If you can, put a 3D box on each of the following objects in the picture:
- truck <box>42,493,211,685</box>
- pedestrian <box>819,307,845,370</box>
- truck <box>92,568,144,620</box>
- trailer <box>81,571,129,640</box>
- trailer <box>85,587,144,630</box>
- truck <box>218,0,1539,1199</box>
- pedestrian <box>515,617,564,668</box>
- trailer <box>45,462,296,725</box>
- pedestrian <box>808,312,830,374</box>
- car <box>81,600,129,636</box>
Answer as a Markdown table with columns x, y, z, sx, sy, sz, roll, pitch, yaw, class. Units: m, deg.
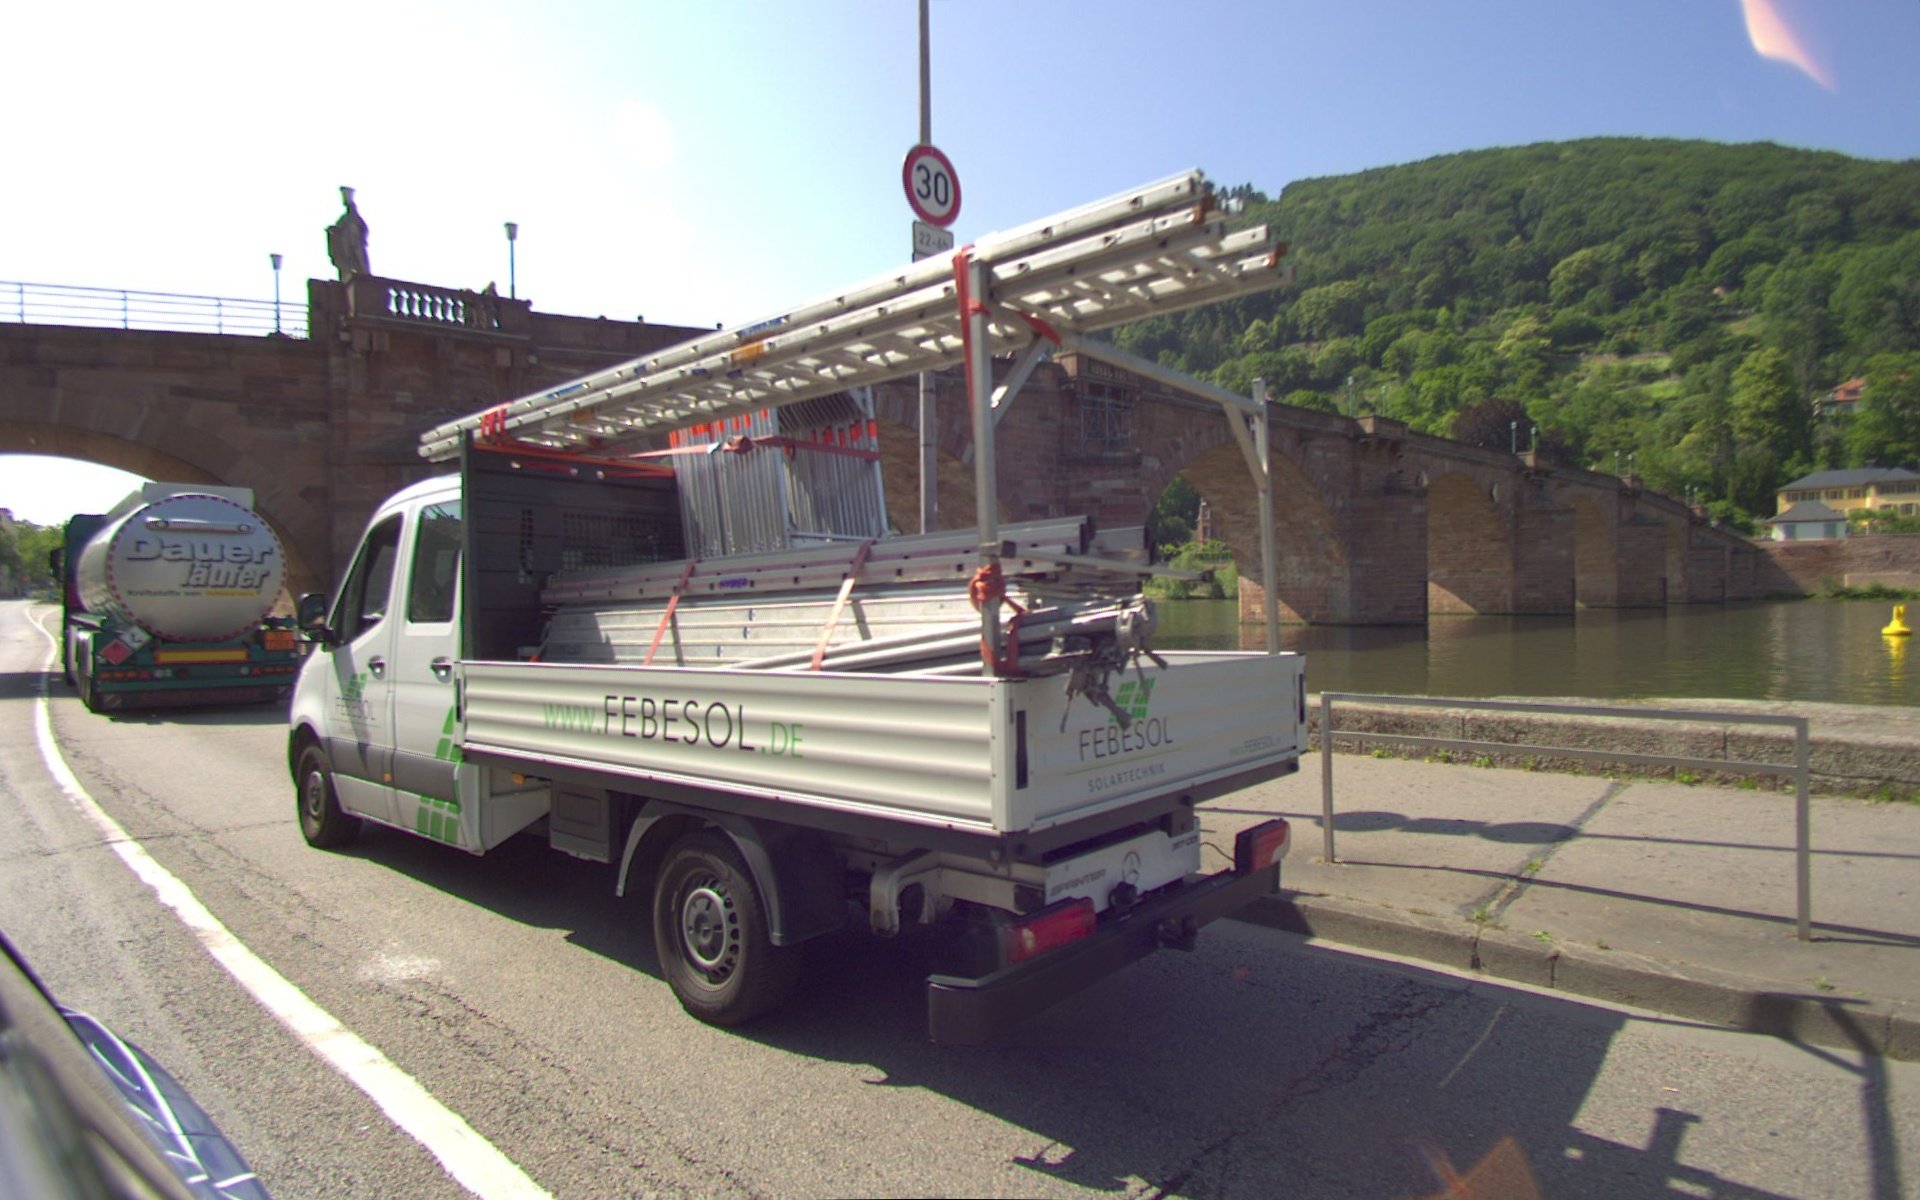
| x | y | z | sx | sy | sz | roll | pitch | yaw | class |
| --- | --- | --- | --- | --- | --- | --- | --- | --- | --- |
| -19.080 | -0.131 | 23.035 | 2.494 | 3.777 | 6.251 | 2 | -2 | -43 | truck |
| -4.616 | -9.446 | 36.608 | 0.625 | 2.029 | 0.685 | 0 | 0 | 41 | pedestrian |
| -59.353 | -0.443 | 71.446 | 2.608 | 3.483 | 7.887 | 2 | 0 | -39 | truck |
| -42.908 | 0.277 | 50.823 | 1.720 | 3.345 | 3.389 | 2 | -1 | -40 | trailer |
| -53.965 | 0.487 | 64.728 | 2.663 | 2.550 | 6.961 | 2 | 0 | -39 | trailer |
| -1.475 | -0.120 | 5.416 | 7.607 | 3.286 | 2.351 | -2 | -3 | 41 | truck |
| -10.719 | 1.065 | 25.795 | 1.026 | 1.239 | 0.779 | -2 | 0 | 44 | pedestrian |
| -15.348 | 0.001 | 19.157 | 2.494 | 3.672 | 11.539 | 1 | -2 | -44 | trailer |
| -5.044 | -9.157 | 36.139 | 0.639 | 2.029 | 0.461 | 0 | 0 | 41 | pedestrian |
| -45.857 | 0.950 | 54.271 | 1.851 | 1.841 | 4.550 | 1 | -1 | -41 | car |
